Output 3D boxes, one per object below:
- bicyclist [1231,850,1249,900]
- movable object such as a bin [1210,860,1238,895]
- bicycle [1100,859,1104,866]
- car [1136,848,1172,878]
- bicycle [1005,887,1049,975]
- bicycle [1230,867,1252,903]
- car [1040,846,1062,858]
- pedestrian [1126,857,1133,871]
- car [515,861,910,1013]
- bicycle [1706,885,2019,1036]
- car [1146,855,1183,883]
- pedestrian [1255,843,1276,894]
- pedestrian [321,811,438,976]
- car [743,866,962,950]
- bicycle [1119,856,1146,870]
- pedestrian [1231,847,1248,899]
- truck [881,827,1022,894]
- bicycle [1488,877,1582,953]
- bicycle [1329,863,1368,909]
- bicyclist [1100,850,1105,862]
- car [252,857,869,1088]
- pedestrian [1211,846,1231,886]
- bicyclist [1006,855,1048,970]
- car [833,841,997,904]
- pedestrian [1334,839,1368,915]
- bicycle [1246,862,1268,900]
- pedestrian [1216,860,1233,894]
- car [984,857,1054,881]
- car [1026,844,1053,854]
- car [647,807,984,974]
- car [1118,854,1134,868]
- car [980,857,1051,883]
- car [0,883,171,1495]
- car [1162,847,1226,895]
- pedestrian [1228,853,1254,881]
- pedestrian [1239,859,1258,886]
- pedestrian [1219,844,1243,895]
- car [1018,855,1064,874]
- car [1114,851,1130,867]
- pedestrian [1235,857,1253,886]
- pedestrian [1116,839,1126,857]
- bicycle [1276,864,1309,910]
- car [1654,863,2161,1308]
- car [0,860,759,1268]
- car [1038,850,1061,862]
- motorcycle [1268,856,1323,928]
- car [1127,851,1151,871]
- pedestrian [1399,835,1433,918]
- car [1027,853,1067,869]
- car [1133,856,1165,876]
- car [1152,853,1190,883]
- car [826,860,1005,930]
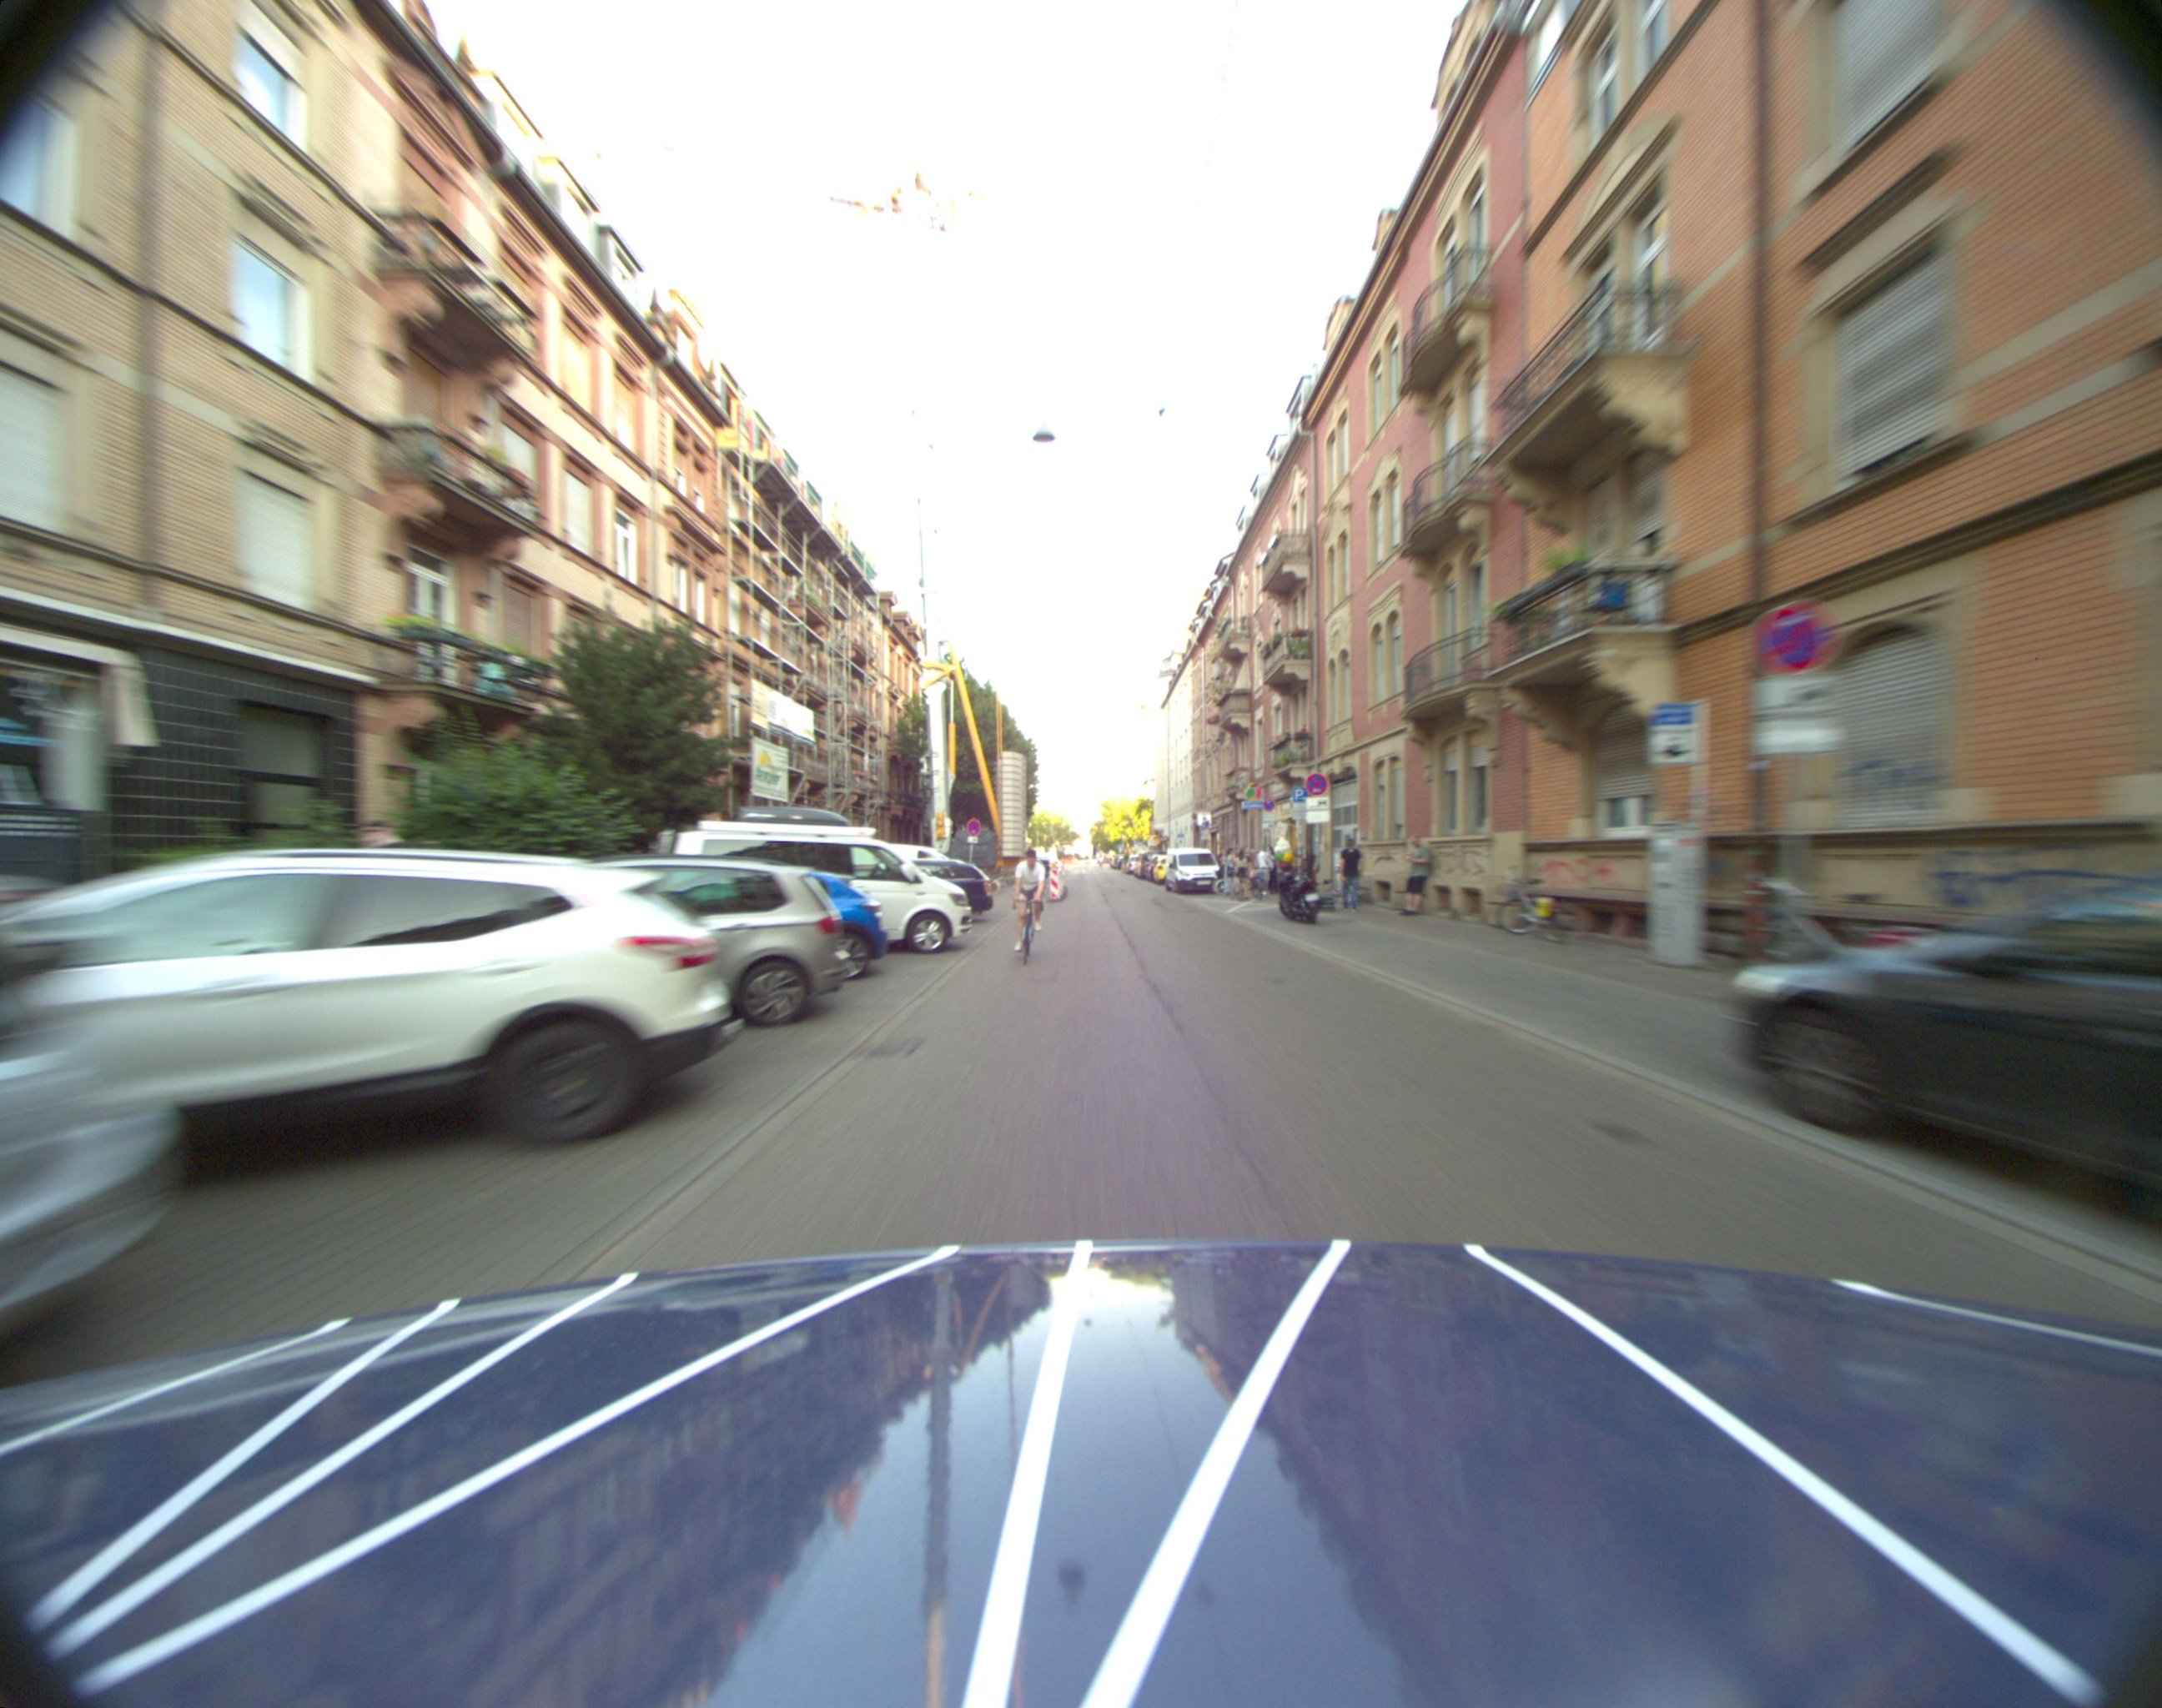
[{"bbox_3d":[5.147,0.682,24.649,0.467,1.581,0.487,-2,1,4],"label":"bicyclist"},{"bbox_3d":[5.322,0.860,28.288,0.889,1.244,0.776,-2,1,1],"label":"movable object such as a bin"},{"bbox_3d":[3.054,1.232,108.610,0.477,0.938,1.895,-2,1,-1],"label":"bicycle"},{"bbox_3d":[4.860,0.593,51.082,1.932,1.871,4.905,-1,0,0],"label":"car"},{"bbox_3d":[-0.809,1.148,11.810,0.520,1.148,1.782,-2,1,0],"label":"bicycle"},{"bbox_3d":[5.144,0.983,24.493,0.467,1.062,1.520,-2,1,4],"label":"bicycle"},{"bbox_3d":[-6.141,-0.364,156.587,4.201,2.246,1.673,2,1,-35],"label":"car"},{"bbox_3d":[4.476,0.948,70.508,0.571,1.315,0.496,-2,1,-1],"label":"pedestrian"},{"bbox_3d":[-4.514,0.882,9.753,4.173,1.581,1.881,0,0,-28],"label":"car"},{"bbox_3d":[7.191,0.908,7.182,0.752,1.095,2.024,-2,1,-6],"label":"bicycle"},{"bbox_3d":[4.975,0.856,45.790,1.932,1.587,3.970,-1,0,2],"label":"car"},{"bbox_3d":[6.679,0.518,27.489,0.598,1.803,0.721,-2,1,19],"label":"pedestrian"},{"bbox_3d":[-7.801,0.420,8.496,0.687,1.740,0.825,1,1,-20],"label":"pedestrian"},{"bbox_3d":[-4.527,0.983,15.184,3.874,1.400,1.754,0,1,-32],"label":"car"},{"bbox_3d":[5.172,0.894,76.074,2.619,1.390,0.602,-2,1,13],"label":"bicycle"},{"bbox_3d":[5.249,0.633,25.100,0.419,1.699,0.350,-2,1,-5],"label":"pedestrian"},{"bbox_3d":[-6.445,0.291,38.387,6.495,3.059,2.525,-2,1,4],"label":"truck"},{"bbox_3d":[7.090,0.923,11.951,0.449,1.024,1.740,-2,1,1],"label":"bicycle"},{"bbox_3d":[7.194,0.839,20.516,0.412,1.153,1.837,-2,1,1],"label":"bicycle"},{"bbox_3d":[3.039,0.332,108.459,0.624,1.682,1.003,-2,1,-1],"label":"bicyclist"},{"bbox_3d":[-4.337,0.891,7.087,4.174,1.581,1.881,2,-1,-30],"label":"car"},{"bbox_3d":[6.086,0.524,33.029,0.619,1.720,0.586,-1,1,29],"label":"pedestrian"},{"bbox_3d":[-0.821,0.877,11.761,0.528,1.694,0.789,-2,1,0],"label":"bicyclist"},{"bbox_3d":[-5.641,0.640,26.245,5.186,1.944,1.899,2,-1,0],"label":"car"},{"bbox_3d":[6.588,0.542,18.578,0.683,1.800,0.962,-2,1,16],"label":"pedestrian"},{"bbox_3d":[5.816,0.885,25.156,0.466,1.148,2.001,-2,1,7],"label":"bicycle"},{"bbox_3d":[5.334,0.859,28.332,0.479,1.244,0.652,-2,1,1],"label":"pedestrian"},{"bbox_3d":[-4.014,0.978,49.443,4.179,1.479,1.826,2,0,-36],"label":"car"},{"bbox_3d":[-6.683,-0.760,121.909,3.841,1.510,1.674,2,1,-28],"label":"car"},{"bbox_3d":[-4.283,0.518,12.622,4.945,2.348,1.996,0,0,-25],"label":"car"},{"bbox_3d":[5.442,0.822,91.569,1.785,1.537,4.000,-2,1,2],"label":"car"},{"bbox_3d":[-3.997,0.992,46.457,4.003,1.479,1.680,2,0,-34],"label":"car"},{"bbox_3d":[-4.626,0.845,0.959,4.118,1.581,1.813,2,-1,-37],"label":"car"},{"bbox_3d":[4.537,0.622,31.079,1.775,1.778,4.586,-2,1,-1],"label":"car"},{"bbox_3d":[7.205,0.569,34.173,1.041,1.196,0.503,-2,1,-1],"label":"pedestrian"},{"bbox_3d":[7.223,0.782,32.723,0.633,1.133,0.573,-2,1,-1],"label":"pedestrian"},{"bbox_3d":[5.460,0.558,27.610,0.600,1.803,0.720,-2,1,-8],"label":"pedestrian"},{"bbox_3d":[-3.665,0.947,69.440,3.841,1.556,1.673,2,1,-29],"label":"car"},{"bbox_3d":[5.174,0.618,96.548,1.785,1.860,4.457,-2,1,2],"label":"car"},{"bbox_3d":[7.221,0.766,33.590,0.620,1.244,0.585,-2,1,-1],"label":"pedestrian"},{"bbox_3d":[6.379,-0.979,121.908,1.445,2.725,1.012,-2,1,-1],"label":"pedestrian"},{"bbox_3d":[5.783,0.884,20.889,0.412,1.153,1.837,-2,1,1],"label":"bicycle"},{"bbox_3d":[4.606,0.809,2.754,1.842,1.462,4.172,-1,0,-1],"label":"car"},{"bbox_3d":[-4.127,0.881,4.165,4.116,1.581,1.814,2,-1,-30],"label":"car"},{"bbox_3d":[-6.159,0.431,148.153,4.202,2.279,1.673,1,1,-39],"label":"car"},{"bbox_3d":[4.586,0.779,16.373,0.686,1.397,2.014,-2,1,3],"label":"motorcycle"},{"bbox_3d":[4.956,0.607,65.633,1.730,1.638,3.916,-2,0,0],"label":"car"},{"bbox_3d":[7.371,0.491,16.733,0.464,1.779,0.642,-2,1,4],"label":"pedestrian"},{"bbox_3d":[-3.627,0.749,80.302,3.842,1.510,1.673,2,1,-32],"label":"car"},{"bbox_3d":[5.033,0.864,56.539,1.932,1.422,4.481,-1,0,0],"label":"car"},{"bbox_3d":[4.818,0.744,41.228,1.709,1.521,3.793,-1,0,2],"label":"car"},{"bbox_3d":[-3.948,0.907,18.178,3.873,1.507,1.844,0,0,-25],"label":"car"}]
